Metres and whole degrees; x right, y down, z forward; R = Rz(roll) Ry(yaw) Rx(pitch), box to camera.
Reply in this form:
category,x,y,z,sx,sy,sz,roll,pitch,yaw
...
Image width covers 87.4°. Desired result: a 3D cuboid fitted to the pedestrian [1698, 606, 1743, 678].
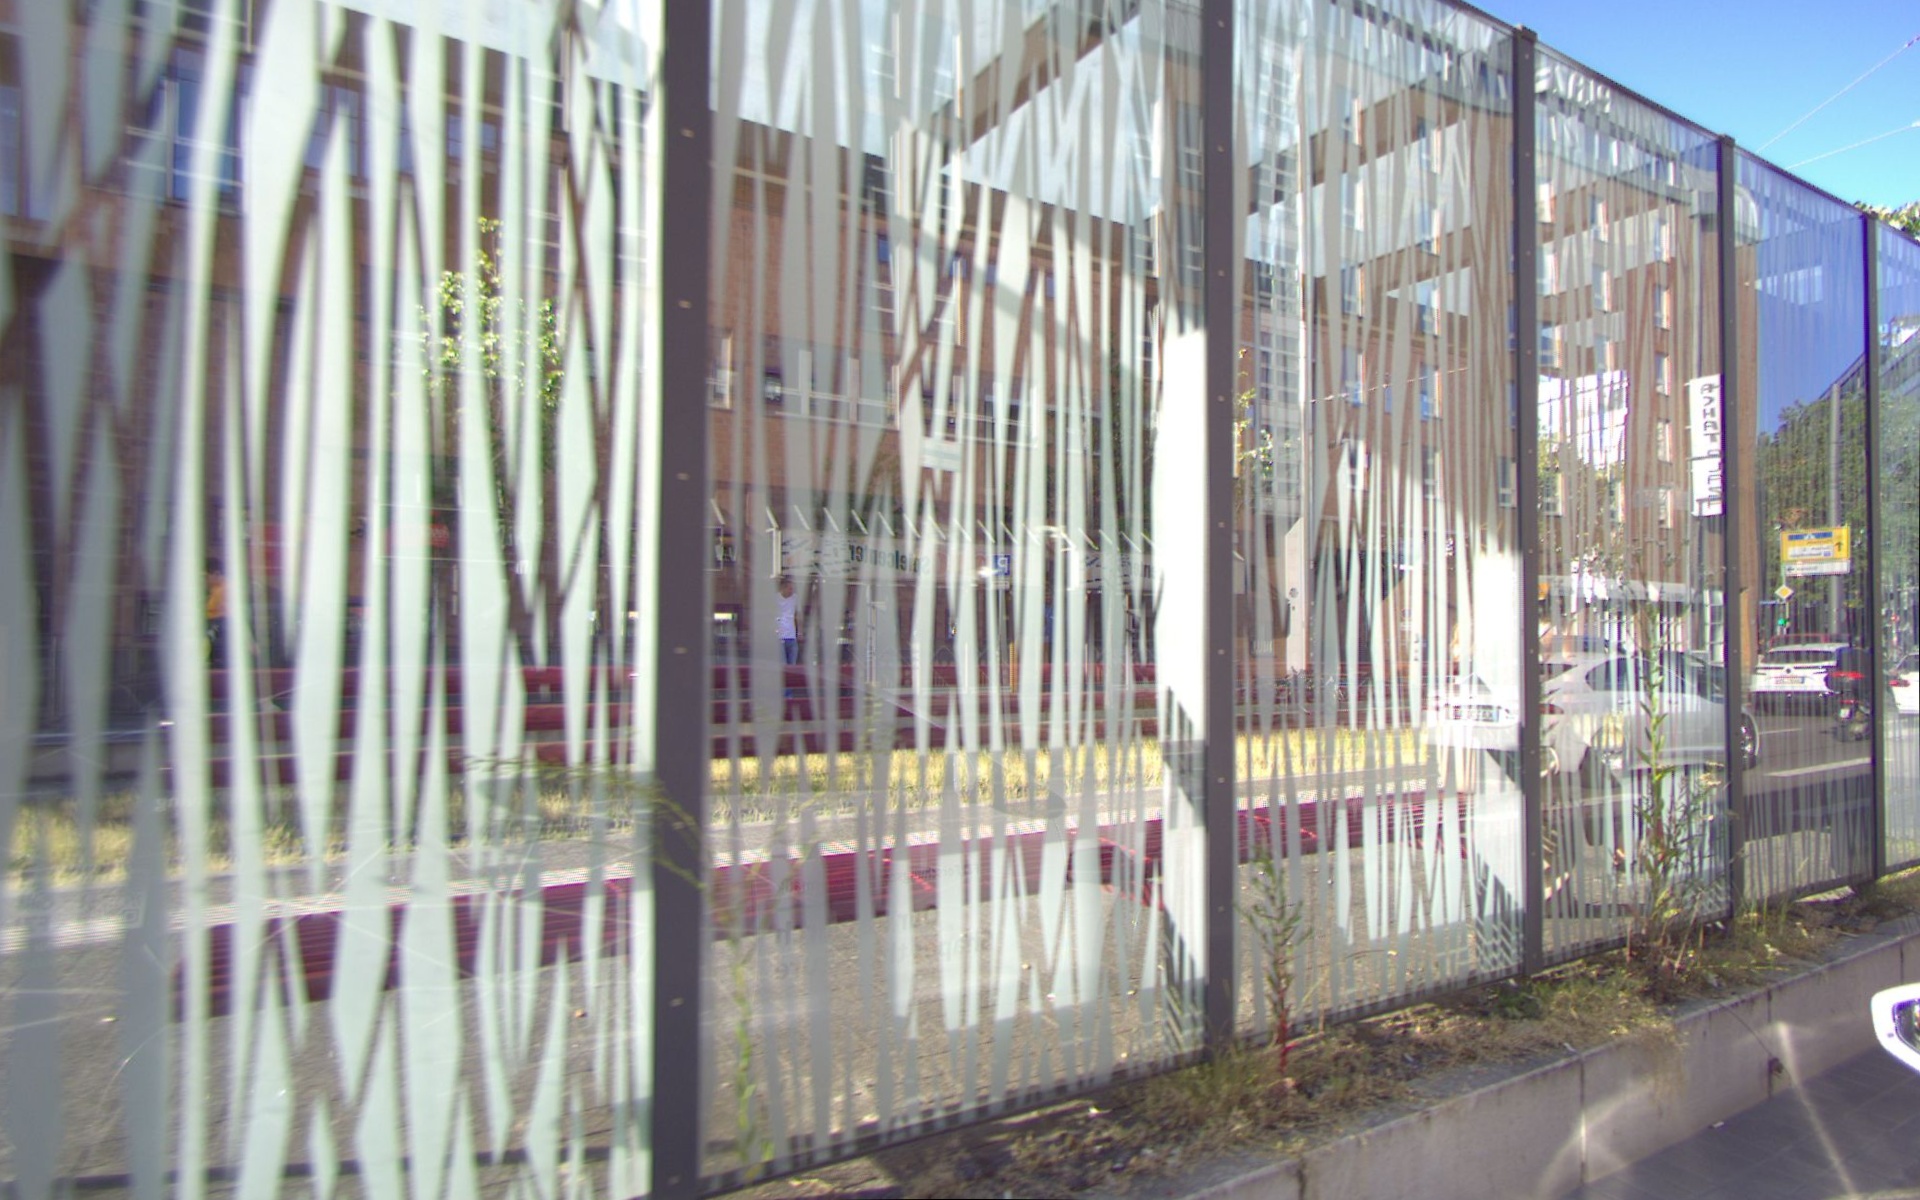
category,x,y,z,sx,sy,sz,roll,pitch,yaw
pedestrian,19.720,1.087,26.040,0.886,1.841,0.611,1,0,-29

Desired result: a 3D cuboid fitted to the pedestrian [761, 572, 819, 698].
category,x,y,z,sx,sy,sz,roll,pitch,yaw
pedestrian,-2.422,0.490,14.293,0.608,1.737,0.620,1,0,-29

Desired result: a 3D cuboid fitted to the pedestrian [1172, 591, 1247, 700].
category,x,y,z,sx,sy,sz,roll,pitch,yaw
pedestrian,3.955,0.704,15.933,0.934,1.665,0.637,1,0,-29

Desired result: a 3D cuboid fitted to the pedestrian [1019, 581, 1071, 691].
category,x,y,z,sx,sy,sz,roll,pitch,yaw
pedestrian,1.389,0.584,16.401,0.608,1.761,0.579,1,0,-29

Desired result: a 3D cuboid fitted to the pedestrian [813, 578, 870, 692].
category,x,y,z,sx,sy,sz,roll,pitch,yaw
pedestrian,-1.743,0.507,14.721,0.608,1.633,0.620,1,0,-29

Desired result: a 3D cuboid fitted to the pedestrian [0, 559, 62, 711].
category,x,y,z,sx,sy,sz,roll,pitch,yaw
pedestrian,-9.459,0.333,10.008,0.634,1.479,0.537,1,0,-29

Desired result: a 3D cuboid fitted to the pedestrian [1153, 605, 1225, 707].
category,x,y,z,sx,sy,sz,roll,pitch,yaw
pedestrian,3.793,0.911,16.652,0.934,1.629,0.637,1,0,-29

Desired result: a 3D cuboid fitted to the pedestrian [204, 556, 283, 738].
category,x,y,z,sx,sy,sz,roll,pitch,yaw
pedestrian,-7.046,0.447,9.900,0.534,1.718,0.637,1,0,-29
